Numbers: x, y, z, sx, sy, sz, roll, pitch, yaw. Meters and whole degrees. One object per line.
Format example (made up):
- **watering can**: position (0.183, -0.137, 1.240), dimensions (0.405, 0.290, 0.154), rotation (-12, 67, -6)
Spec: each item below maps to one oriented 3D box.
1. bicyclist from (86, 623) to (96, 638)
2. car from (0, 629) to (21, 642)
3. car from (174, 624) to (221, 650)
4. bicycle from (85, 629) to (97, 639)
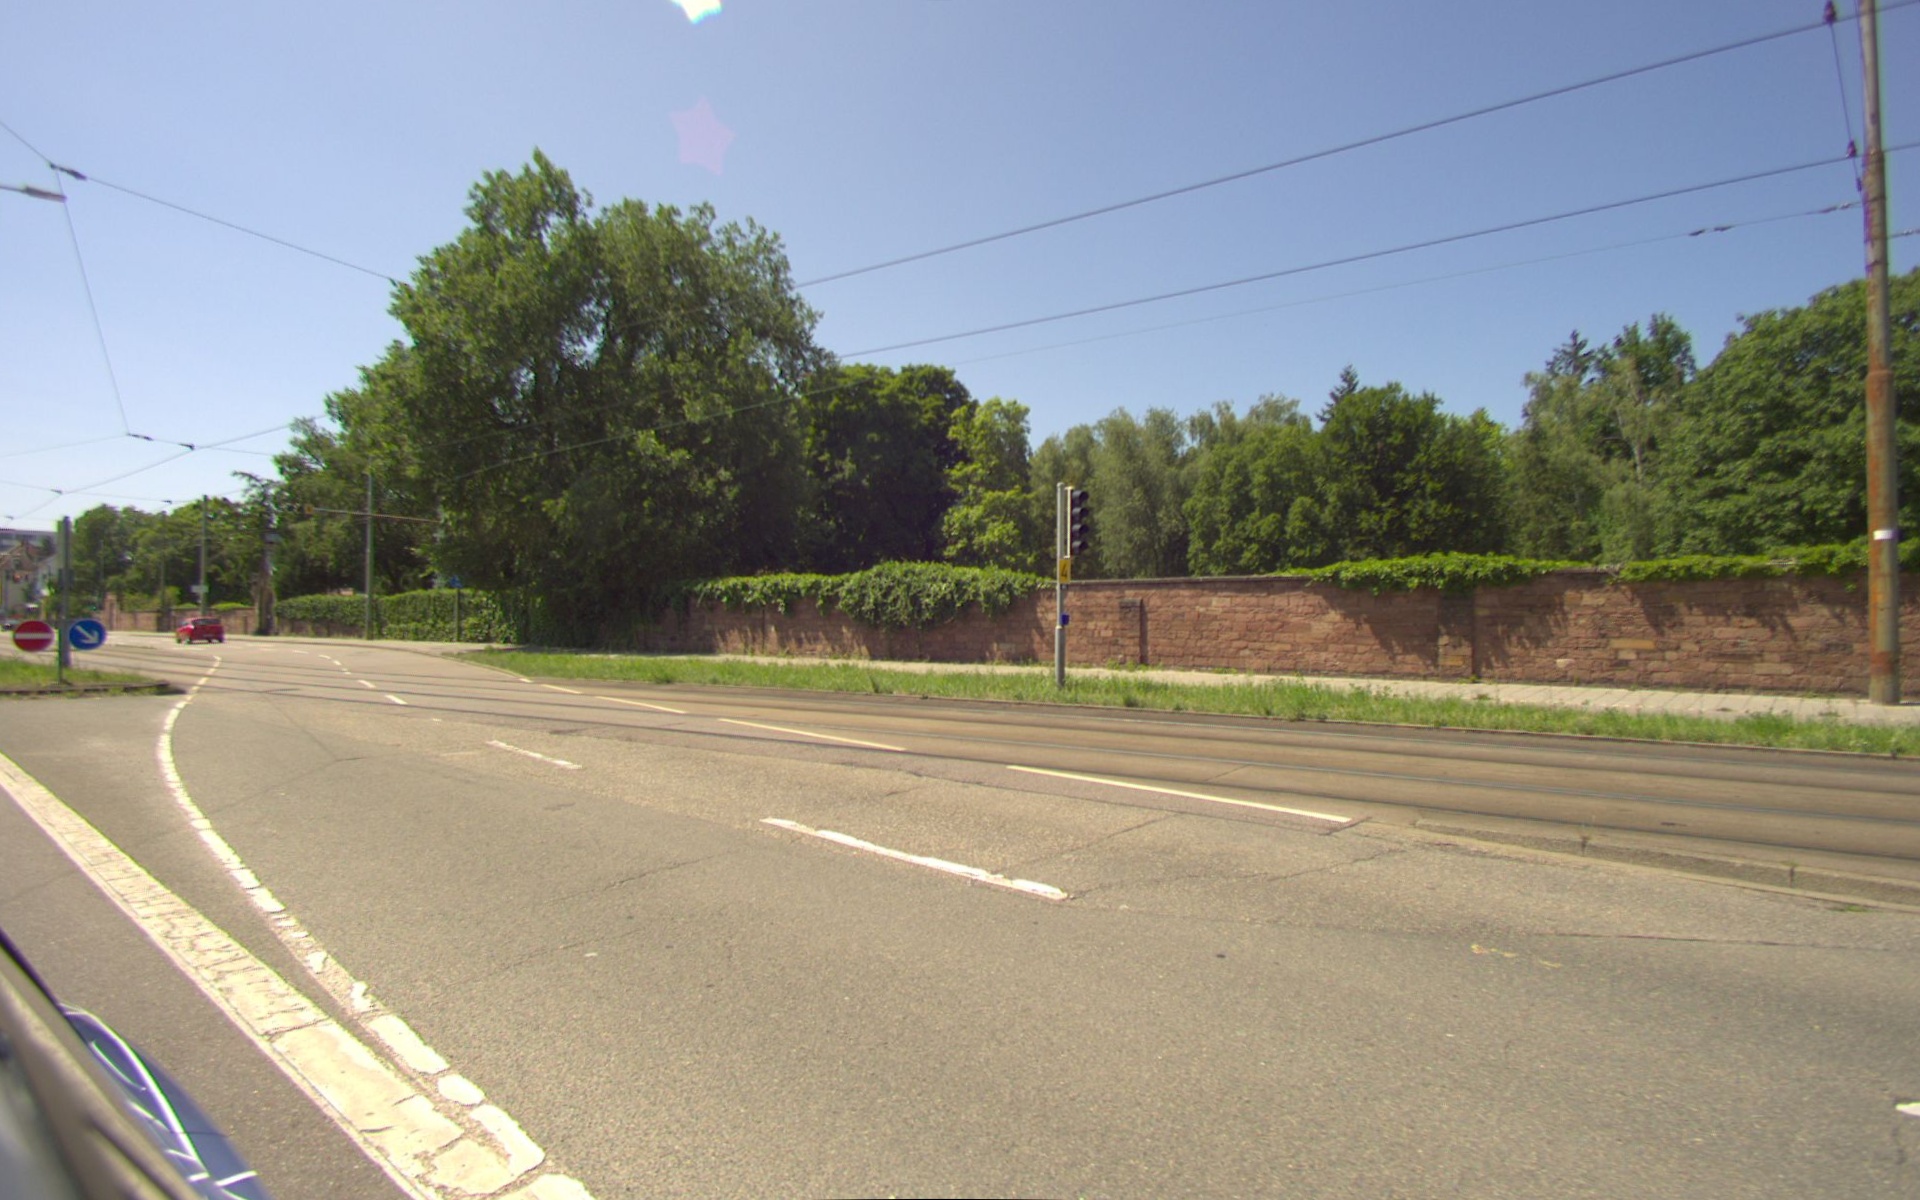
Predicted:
- **bicyclist**: position (-89.983, 3.147, 104.789), dimensions (0.662, 1.508, 0.646), rotation (-1, -1, 40)
- **car**: position (-111.554, 4.152, 118.764), dimensions (4.123, 1.459, 1.736), rotation (-1, 0, 43)
- **car**: position (-43.780, 2.084, 58.077), dimensions (1.686, 1.424, 4.285), rotation (0, -1, -43)
- **bicycle**: position (-89.958, 3.509, 104.762), dimensions (2.113, 0.964, 0.645), rotation (-1, -1, 40)
